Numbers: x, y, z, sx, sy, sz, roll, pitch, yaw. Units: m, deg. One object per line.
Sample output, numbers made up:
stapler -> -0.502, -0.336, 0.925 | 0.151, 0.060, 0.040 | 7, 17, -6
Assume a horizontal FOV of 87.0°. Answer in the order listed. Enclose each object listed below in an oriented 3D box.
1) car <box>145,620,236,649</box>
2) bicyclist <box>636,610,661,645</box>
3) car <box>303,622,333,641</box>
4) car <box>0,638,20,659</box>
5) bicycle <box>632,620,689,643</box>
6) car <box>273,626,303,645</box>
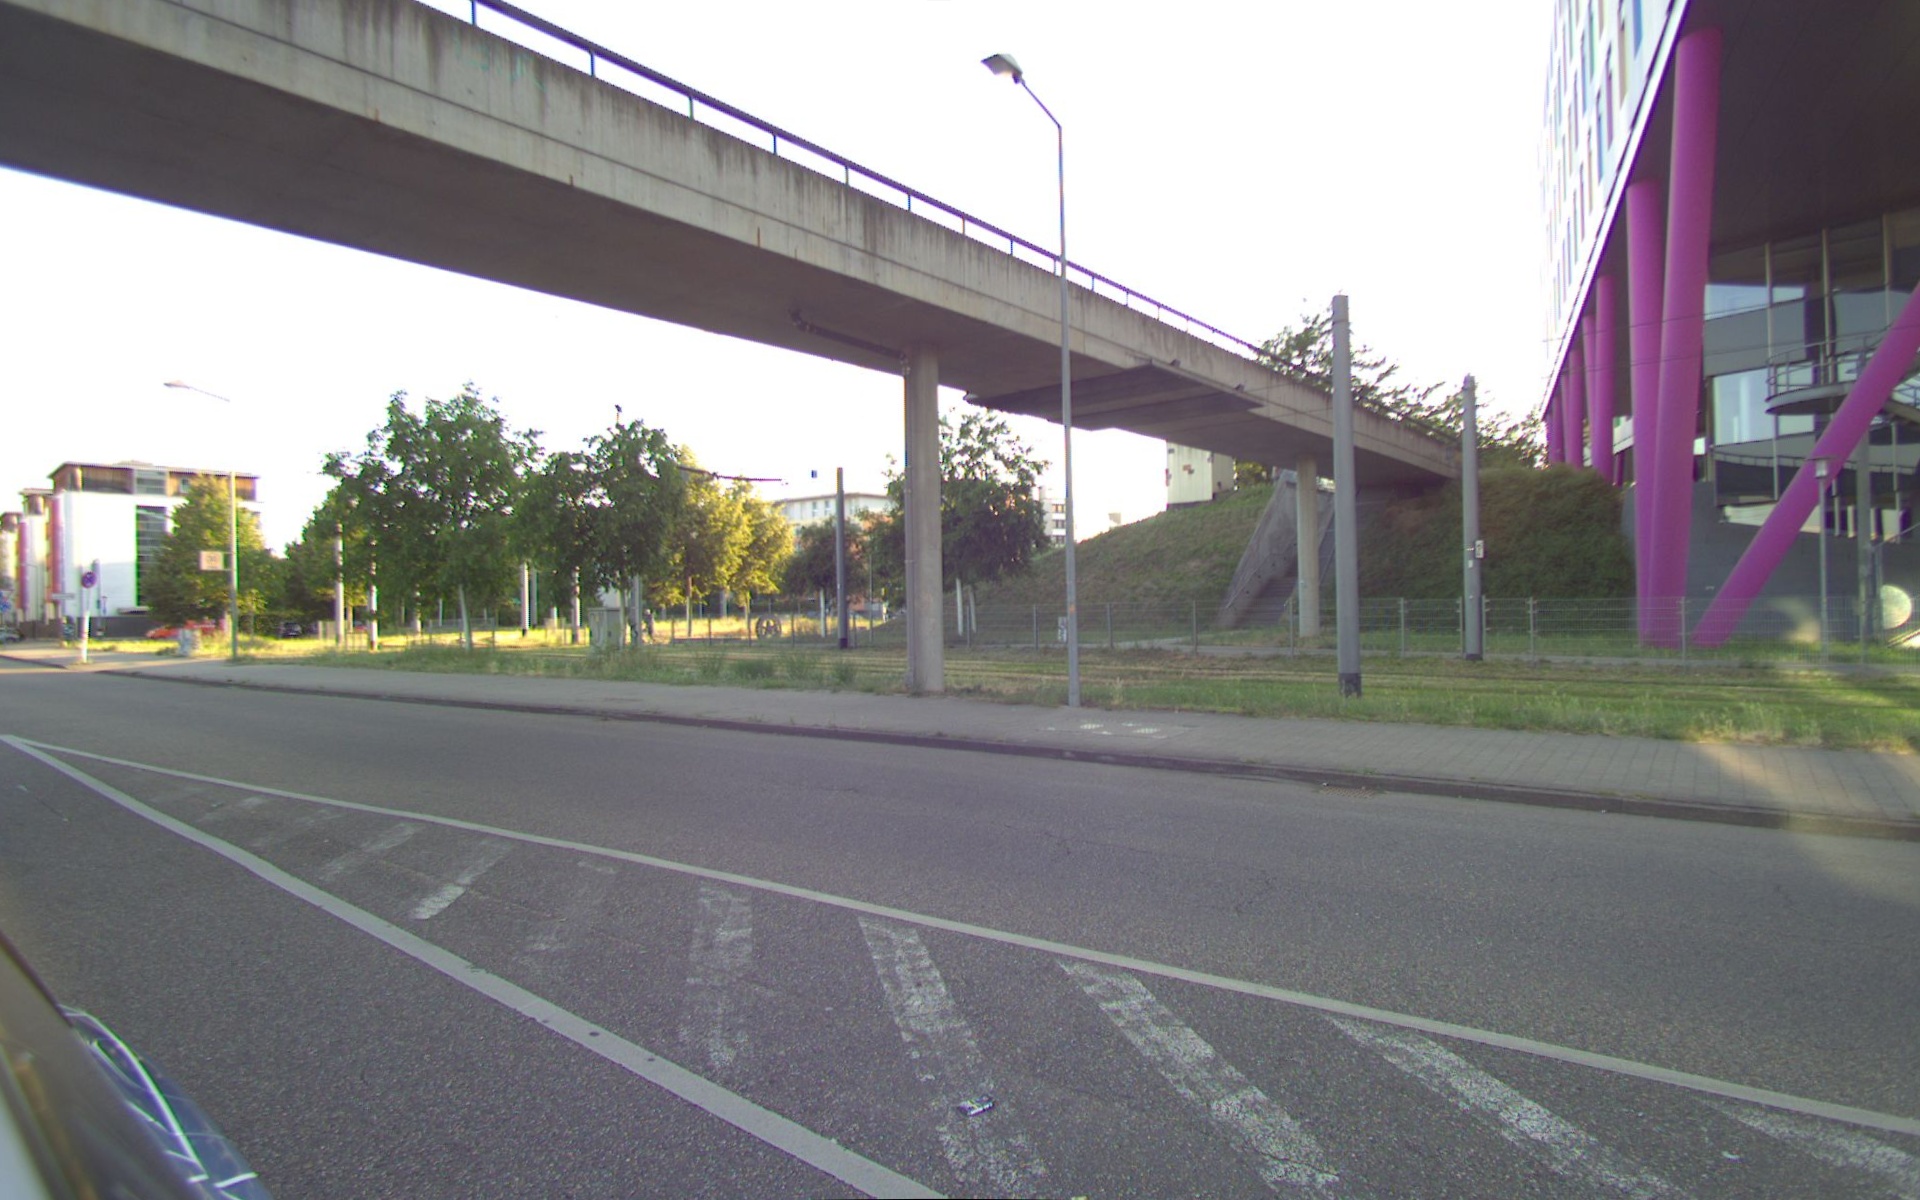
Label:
car -> -58.493, 2.598, 77.007 | 5.438, 2.029, 2.004 | -1, -1, -39
bicyclist -> -14.976, 1.330, 48.706 | 0.716, 1.644, 0.899 | -2, -1, 36
car -> -55.233, 2.724, 87.018 | 1.913, 1.541, 4.009 | -1, -1, -36
car -> -80.333, 4.055, 83.465 | 2.000, 1.741, 3.944 | -2, -1, 42
bicycle -> -14.562, 1.534, 49.294 | 0.654, 1.016, 2.808 | -2, -1, 36
car -> -56.667, 2.973, 85.315 | 1.913, 1.541, 4.009 | -1, -1, -36
